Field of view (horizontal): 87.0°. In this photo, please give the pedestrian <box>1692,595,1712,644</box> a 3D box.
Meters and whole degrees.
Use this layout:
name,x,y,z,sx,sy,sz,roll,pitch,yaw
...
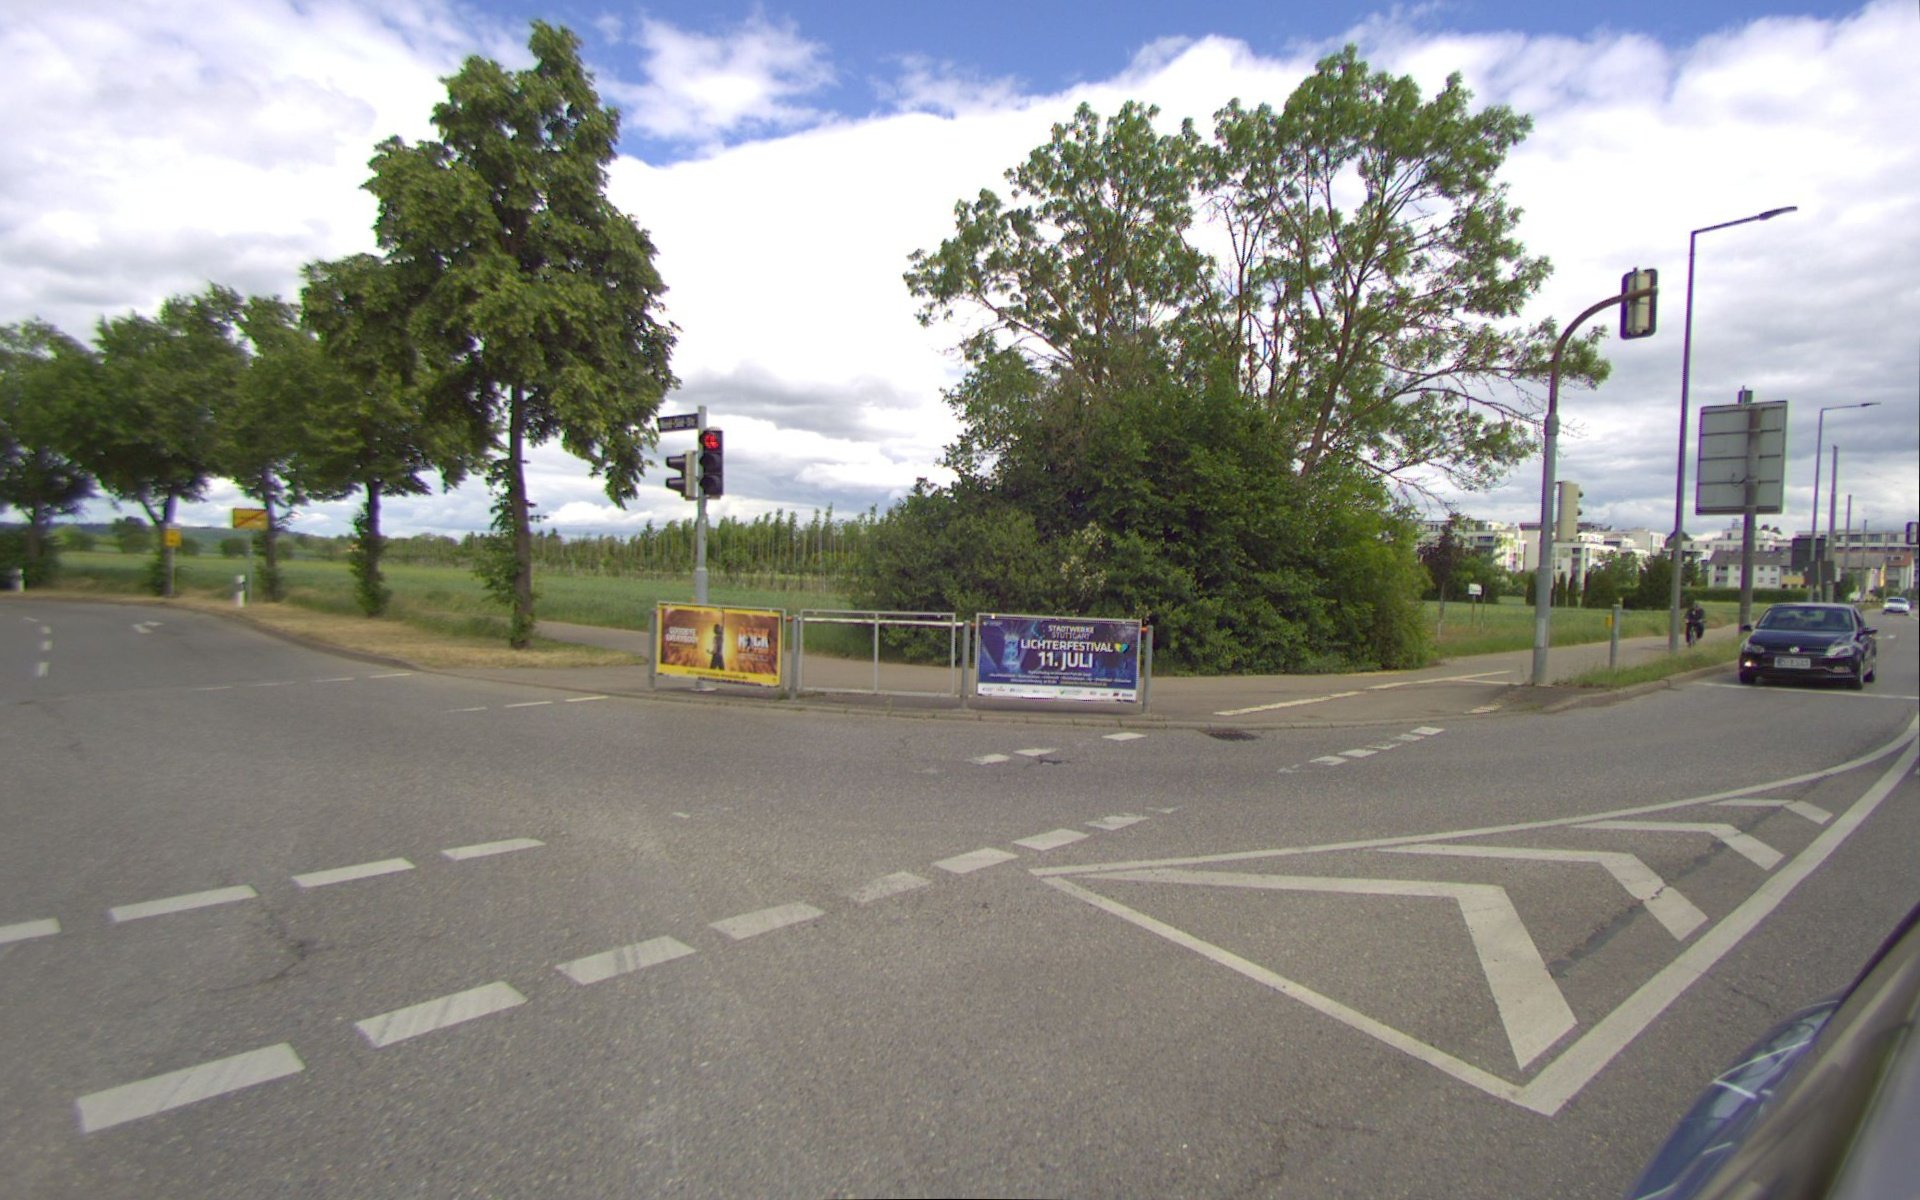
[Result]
name,x,y,z,sx,sy,sz,roll,pitch,yaw
pedestrian,26.222,0.674,35.739,0.491,1.724,0.616,0,0,44

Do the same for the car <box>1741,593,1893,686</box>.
name,x,y,z,sx,sy,sz,roll,pitch,yaw
car,15.390,0.613,18.114,3.677,1.436,1.680,-1,2,-43
